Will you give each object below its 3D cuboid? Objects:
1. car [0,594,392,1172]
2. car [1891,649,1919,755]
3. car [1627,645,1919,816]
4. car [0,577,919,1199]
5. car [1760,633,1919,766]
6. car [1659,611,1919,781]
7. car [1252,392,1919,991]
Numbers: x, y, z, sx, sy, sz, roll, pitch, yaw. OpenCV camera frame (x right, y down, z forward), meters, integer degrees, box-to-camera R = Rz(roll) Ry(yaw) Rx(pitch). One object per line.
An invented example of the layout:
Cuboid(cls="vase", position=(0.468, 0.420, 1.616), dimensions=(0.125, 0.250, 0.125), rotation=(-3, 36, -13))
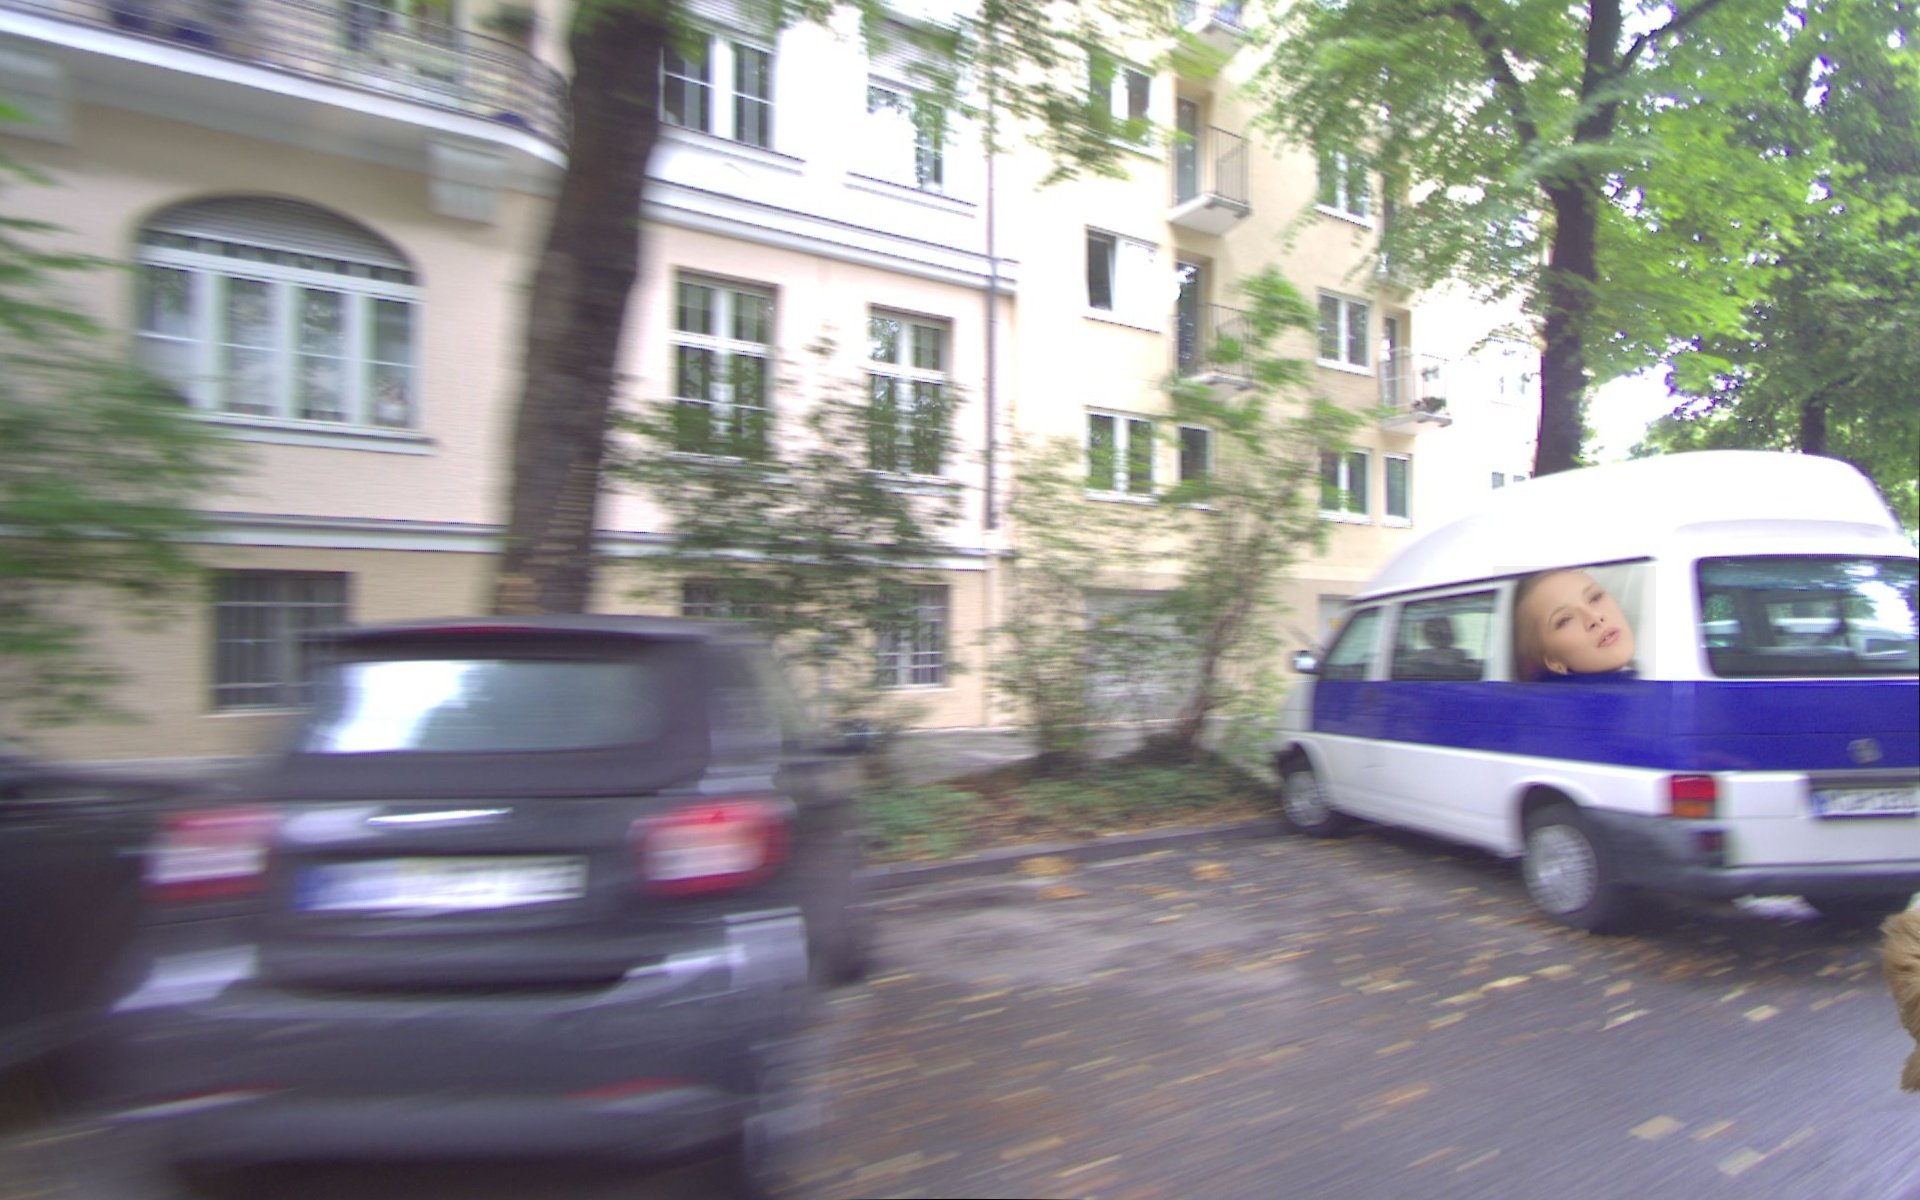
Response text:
Cuboid(cls="car", position=(-3.550, 0.727, 2.288), dimensions=(1.779, 1.556, 4.004), rotation=(0, -3, 9))
Cuboid(cls="car", position=(14.934, 1.384, 13.032), dimensions=(1.720, 1.460, 3.861), rotation=(1, -3, -30))
Cuboid(cls="car", position=(8.774, 1.148, 9.324), dimensions=(1.715, 1.452, 3.969), rotation=(1, -3, -30))
Cuboid(cls="car", position=(-1.193, 0.853, 4.170), dimensions=(1.780, 1.581, 3.869), rotation=(1, -3, 1))
Cuboid(cls="car", position=(12.802, 1.240, 12.267), dimensions=(1.810, 1.617, 4.436), rotation=(1, -1, -24))
Cuboid(cls="car", position=(10.596, 1.025, 11.157), dimensions=(1.824, 1.754, 4.299), rotation=(1, -3, -26))
Cuboid(cls="car", position=(3.717, 0.476, 6.446), dimensions=(1.869, 2.408, 4.579), rotation=(1, -3, -7))
